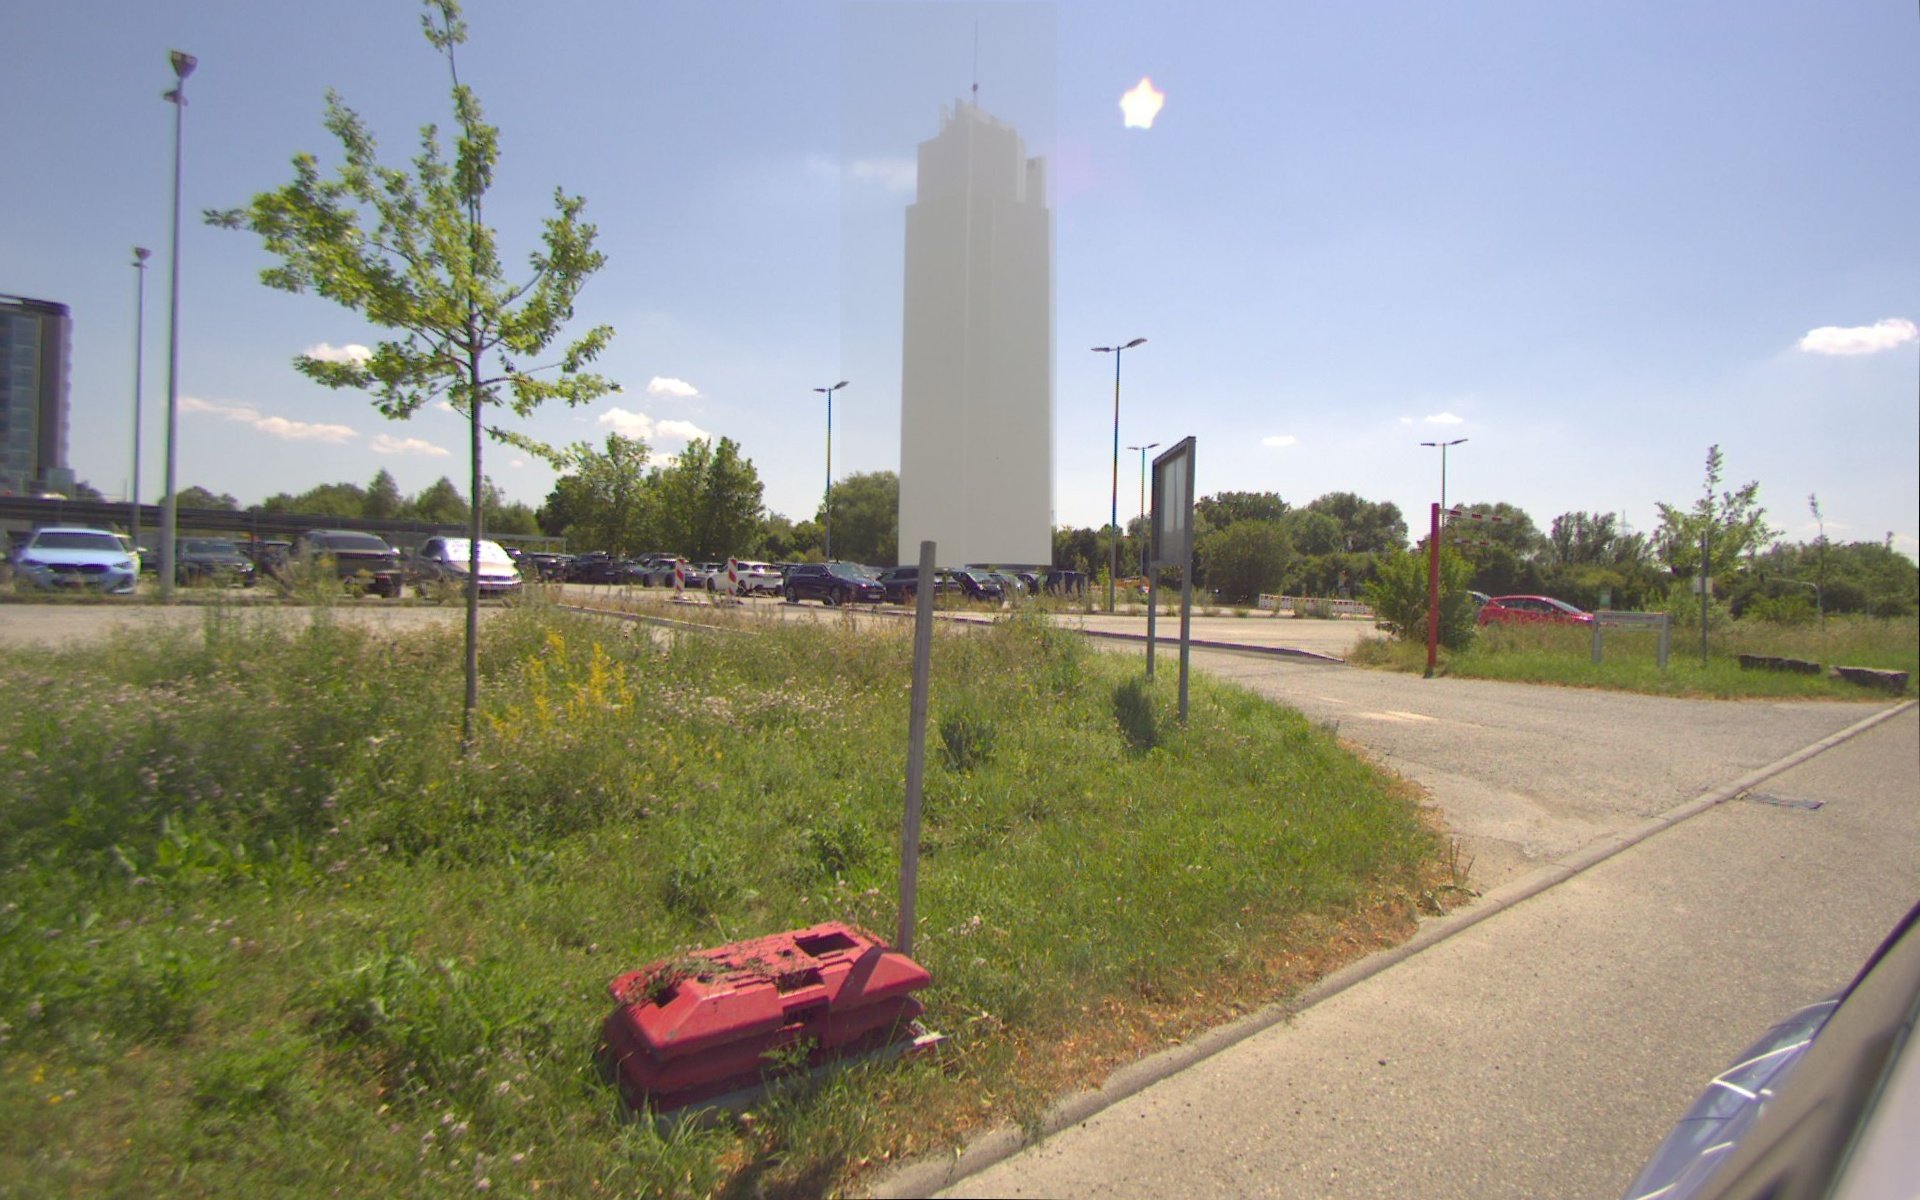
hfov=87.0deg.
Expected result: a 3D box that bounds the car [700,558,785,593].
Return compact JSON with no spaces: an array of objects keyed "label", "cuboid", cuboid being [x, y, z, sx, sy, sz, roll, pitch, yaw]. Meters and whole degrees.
[{"label":"car","cuboid":[-9.316,-1.059,43.166,1.669,1.357,3.990,0,2,-45]}]

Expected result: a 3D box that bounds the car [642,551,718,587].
[{"label":"car","cuboid":[-13.153,-1.474,47.398,1.669,1.537,3.990,0,2,-45]}]

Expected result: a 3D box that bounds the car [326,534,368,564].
[{"label":"car","cuboid":[-47.496,-3.935,78.364,1.965,2.038,3.994,5,0,-42]}]

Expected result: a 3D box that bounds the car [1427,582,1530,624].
[{"label":"car","cuboid":[27.761,0.133,54.303,1.906,1.938,4.471,3,1,-42]}]

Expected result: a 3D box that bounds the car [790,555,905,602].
[{"label":"car","cuboid":[-3.826,-0.749,33.814,1.893,1.412,3.996,1,2,-40]}]

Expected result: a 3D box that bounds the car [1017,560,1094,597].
[{"label":"car","cuboid":[5.176,-1.210,55.359,1.728,1.779,3.993,3,2,-43]}]

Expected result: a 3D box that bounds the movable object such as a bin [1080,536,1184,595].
[{"label":"movable object such as a bin","cuboid":[14.270,-2.866,83.804,7.990,4.095,2.974,5,0,15]}]

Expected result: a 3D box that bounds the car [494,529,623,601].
[{"label":"car","cuboid":[-10.735,-0.952,26.930,1.739,1.616,3.992,5,0,-44]}]

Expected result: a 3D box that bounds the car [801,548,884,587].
[{"label":"car","cuboid":[-6.132,-1.703,52.840,3.980,1.660,1.972,5,0,38]}]

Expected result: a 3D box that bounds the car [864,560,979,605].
[{"label":"car","cuboid":[-1.390,-0.633,35.059,1.893,1.412,3.996,1,2,-40]}]

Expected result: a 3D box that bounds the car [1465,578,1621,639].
[{"label":"car","cuboid":[18.964,0.245,33.035,1.893,1.745,3.996,1,2,-40]}]

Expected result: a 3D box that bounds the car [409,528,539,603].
[{"label":"car","cuboid":[-12.474,-0.910,25.860,1.739,1.616,3.992,5,0,-44]}]

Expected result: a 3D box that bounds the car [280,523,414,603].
[{"label":"car","cuboid":[-14.702,-0.930,24.167,1.739,1.616,4.372,5,0,-44]}]

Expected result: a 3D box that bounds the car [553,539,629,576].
[{"label":"car","cuboid":[-19.979,-2.319,54.803,3.980,1.660,1.972,5,0,38]}]

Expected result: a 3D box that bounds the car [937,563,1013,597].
[{"label":"car","cuboid":[0.881,-1.180,59.576,3.980,1.660,1.972,5,0,38]}]

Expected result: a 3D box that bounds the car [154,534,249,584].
[{"label":"car","cuboid":[-22.738,-1.248,30.285,1.703,1.207,3.991,5,0,-45]}]

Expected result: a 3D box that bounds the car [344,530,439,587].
[{"label":"car","cuboid":[-19.028,-1.400,33.805,1.739,1.616,3.992,5,0,-44]}]

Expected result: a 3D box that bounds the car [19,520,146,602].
[{"label":"car","cuboid":[-18.234,-0.845,20.968,1.739,1.410,3.992,5,0,-44]}]

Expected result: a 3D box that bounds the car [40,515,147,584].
[{"label":"car","cuboid":[-24.969,-1.484,29.122,1.967,1.704,3.991,5,0,-45]}]

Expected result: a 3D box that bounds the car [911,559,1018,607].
[{"label":"car","cuboid":[0.120,-0.660,38.246,1.893,1.661,3.996,1,2,-40]}]

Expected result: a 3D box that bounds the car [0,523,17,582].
[{"label":"car","cuboid":[-26.933,-1.405,27.327,1.967,1.504,3.991,5,0,-45]}]

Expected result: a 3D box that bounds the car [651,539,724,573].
[{"label":"car","cuboid":[-15.810,-2.556,58.661,3.980,1.660,1.972,5,0,38]}]

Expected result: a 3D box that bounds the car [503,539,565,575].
[{"label":"car","cuboid":[-22.761,-2.291,53.956,1.763,1.660,3.995,5,0,-41]}]
